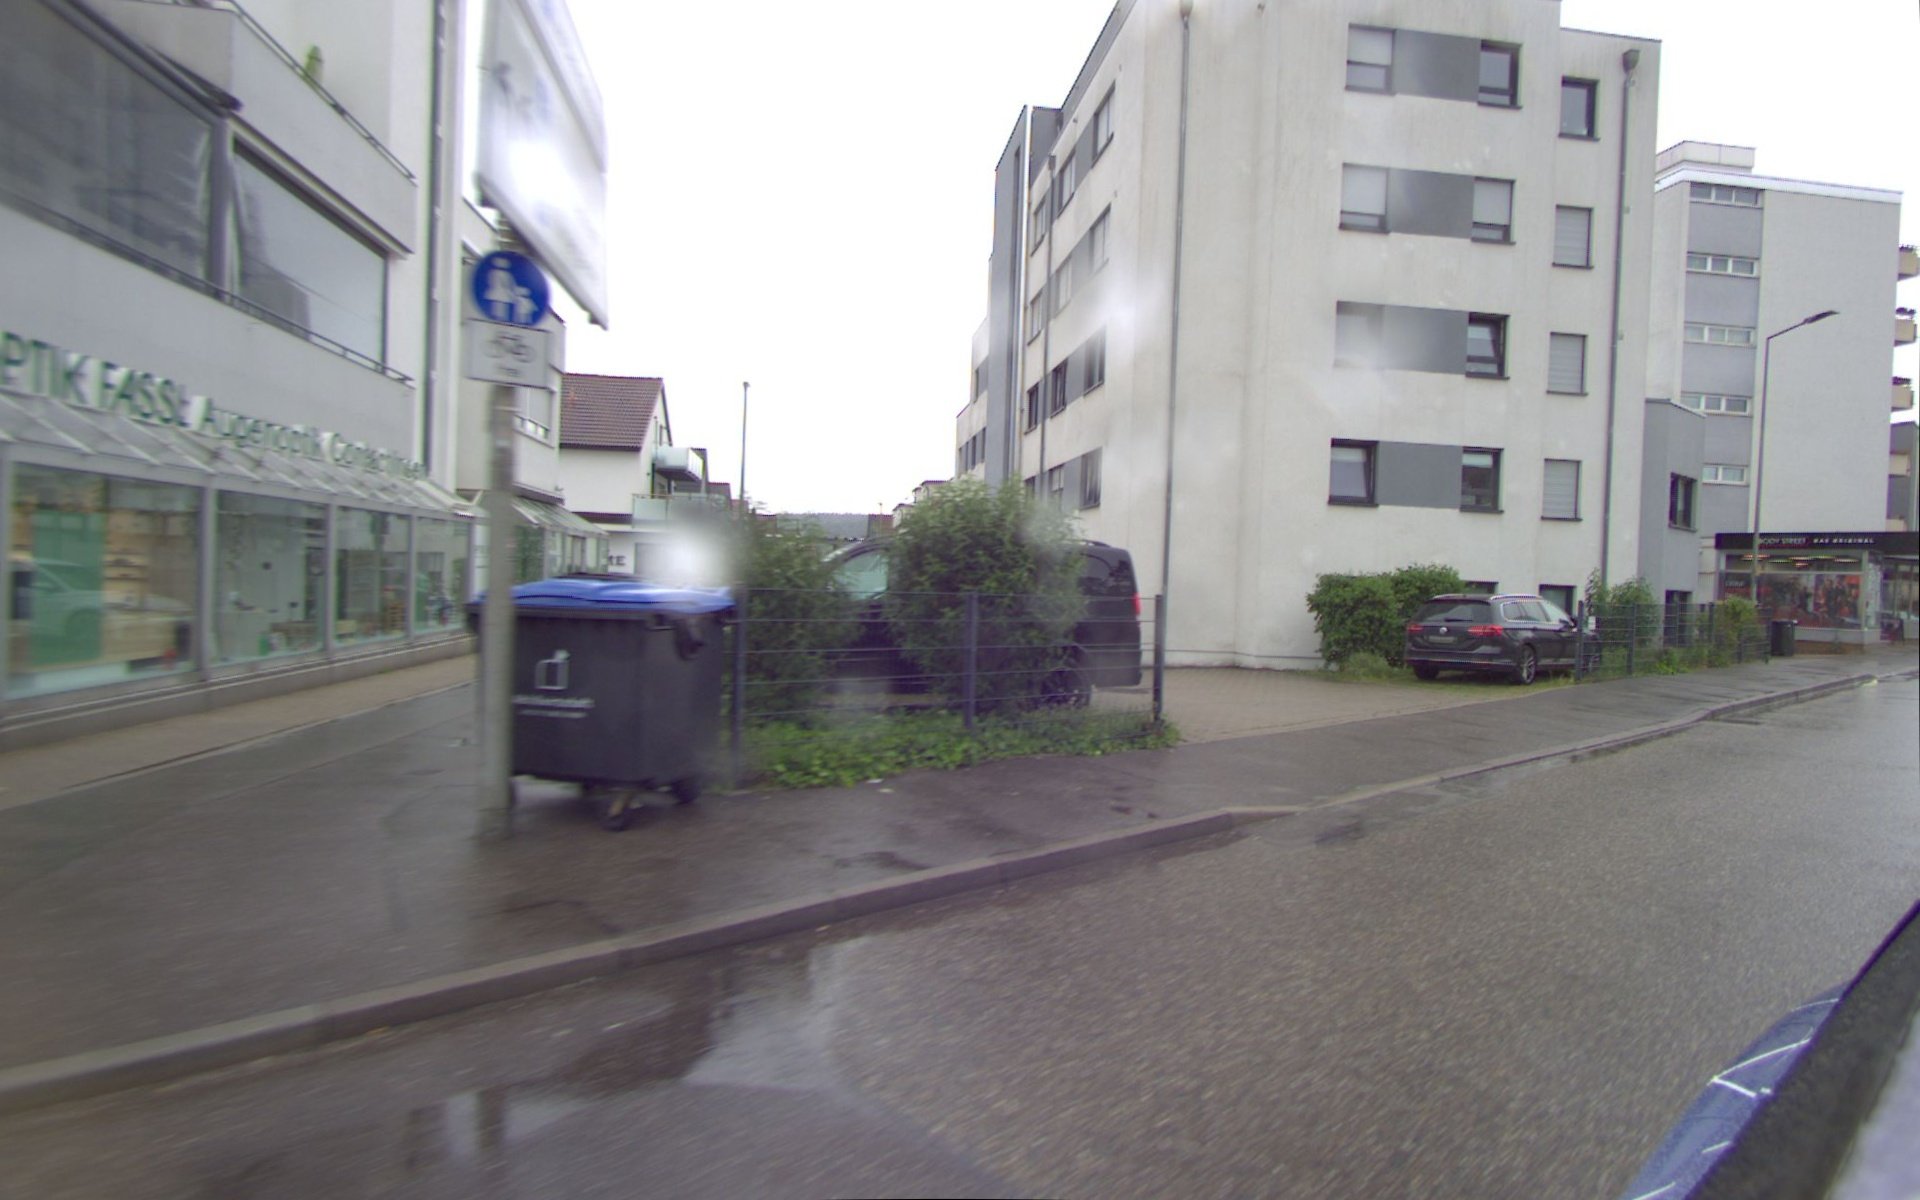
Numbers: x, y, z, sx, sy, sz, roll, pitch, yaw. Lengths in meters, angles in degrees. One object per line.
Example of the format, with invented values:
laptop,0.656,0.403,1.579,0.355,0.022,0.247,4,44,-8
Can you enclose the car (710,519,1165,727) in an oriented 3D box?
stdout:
car,-0.299,0.235,11.482,4.682,2.038,2.003,2,1,-6

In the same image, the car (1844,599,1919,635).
car,42.877,0.778,45.581,1.834,1.513,4.279,3,0,-12

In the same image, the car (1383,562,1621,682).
car,9.501,0.326,17.591,4.606,1.807,1.999,1,2,-39
